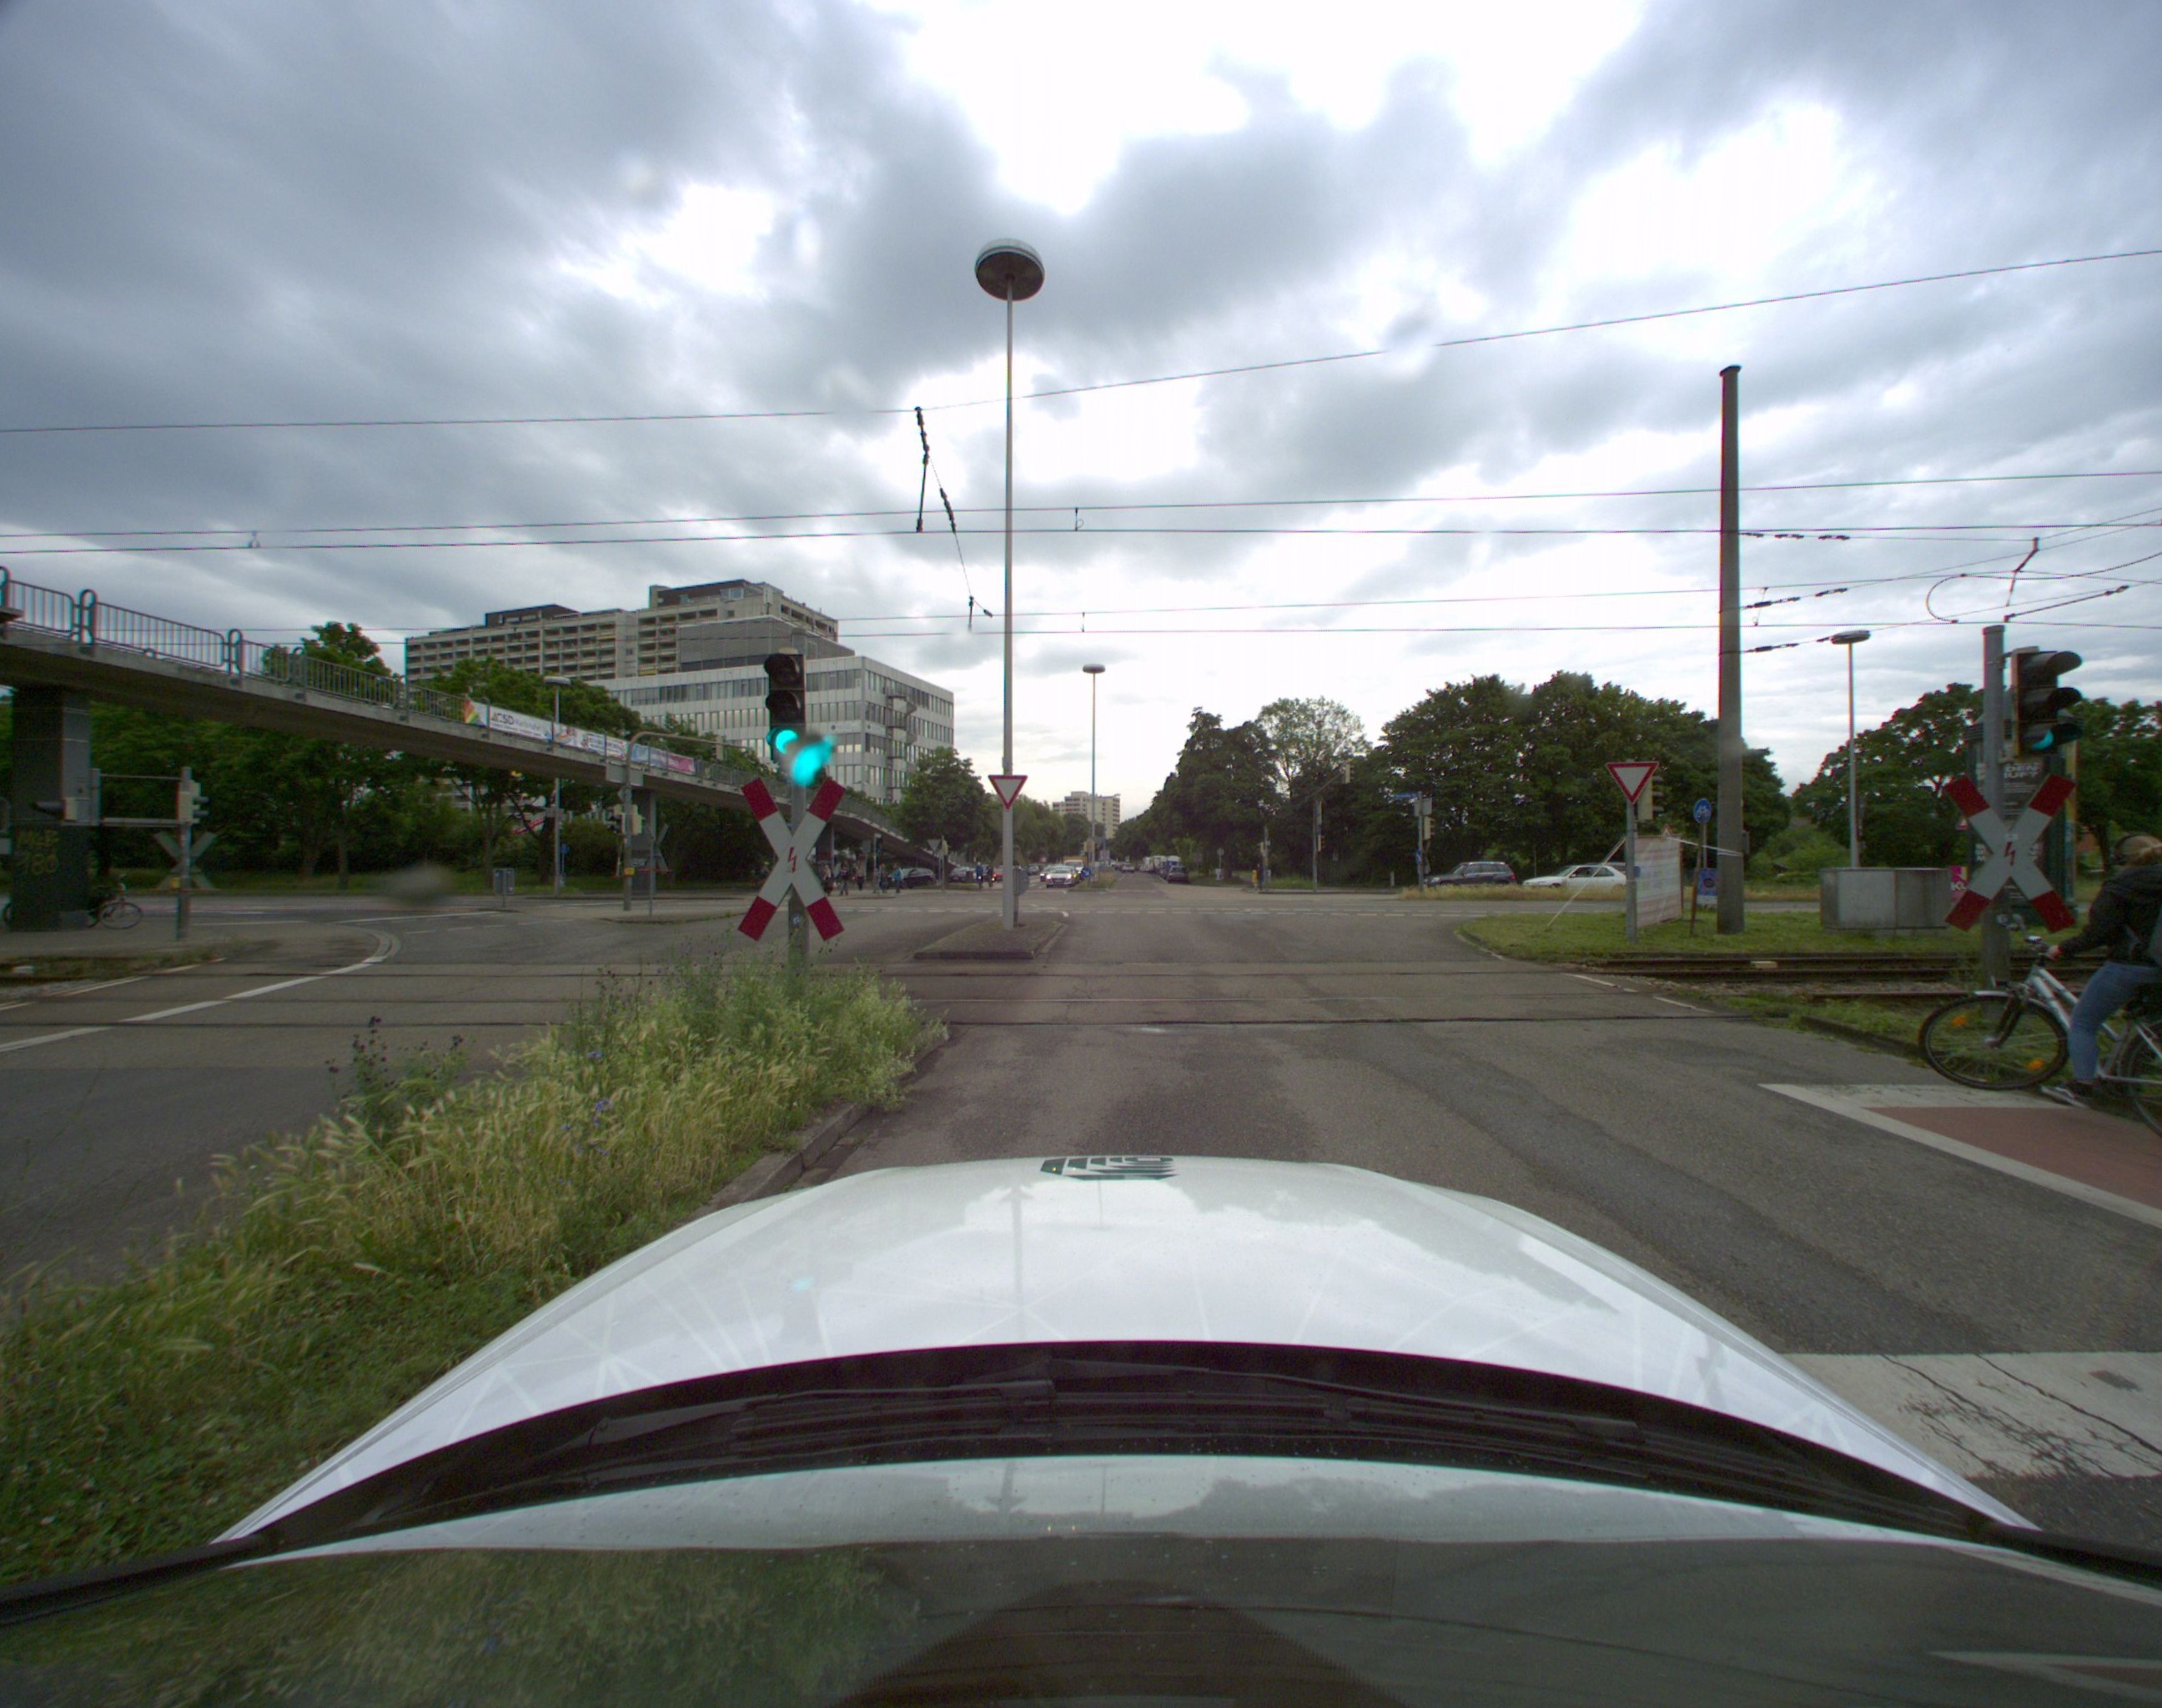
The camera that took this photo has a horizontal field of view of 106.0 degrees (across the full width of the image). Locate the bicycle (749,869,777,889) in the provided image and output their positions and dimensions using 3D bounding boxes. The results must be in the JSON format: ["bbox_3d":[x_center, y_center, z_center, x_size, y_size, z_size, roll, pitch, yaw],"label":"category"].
[{"bbox_3d":[-21.275,1.659,54.445,1.712,1.304,0.386,0,-1,-23],"label":"bicycle"}]

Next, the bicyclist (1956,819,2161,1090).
[{"bbox_3d":[5.962,0.552,4.764,0.619,1.425,0.961,4,-1,1],"label":"bicyclist"}]

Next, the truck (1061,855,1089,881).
[{"bbox_3d":[-0.484,1.231,71.893,2.146,2.199,5.844,0,-1,3],"label":"truck"}]

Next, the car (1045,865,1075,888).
[{"bbox_3d":[-1.410,1.543,56.092,1.782,1.519,4.327,0,-1,2],"label":"car"}]

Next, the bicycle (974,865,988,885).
[{"bbox_3d":[-6.465,1.366,52.755,0.541,1.267,2.111,0,-1,2],"label":"bicycle"}]

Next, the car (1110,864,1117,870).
[{"bbox_3d":[7.571,3.006,189.684,1.548,1.505,4.000,0,-1,1],"label":"car"}]

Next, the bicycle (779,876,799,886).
[{"bbox_3d":[-20.331,1.895,56.661,1.303,0.692,0.287,0,-1,-34],"label":"bicycle"}]

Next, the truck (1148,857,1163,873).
[{"bbox_3d":[12.010,1.834,131.701,1.987,2.573,5.377,0,-1,0],"label":"truck"}]

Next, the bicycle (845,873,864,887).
[{"bbox_3d":[-16.722,1.924,60.251,0.628,0.925,2.524,0,0,2],"label":"bicycle"}]

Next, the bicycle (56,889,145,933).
[{"bbox_3d":[-21.662,1.246,17.991,2.017,0.921,0.375,0,-1,13],"label":"bicycle"}]

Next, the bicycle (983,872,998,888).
[{"bbox_3d":[-6.270,1.816,56.762,0.724,1.101,2.265,0,-1,2],"label":"bicycle"}]

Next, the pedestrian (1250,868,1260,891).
[{"bbox_3d":[10.530,1.550,49.325,0.525,1.342,0.525,0,-1,1],"label":"pedestrian"}]

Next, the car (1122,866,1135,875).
[{"bbox_3d":[7.900,2.807,136.572,2.013,1.505,4.001,0,-1,2],"label":"car"}]

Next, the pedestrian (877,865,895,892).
[{"bbox_3d":[-10.883,1.353,45.510,0.917,1.511,0.402,0,-1,-10],"label":"pedestrian"}]

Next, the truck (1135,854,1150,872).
[{"bbox_3d":[10.700,1.604,142.539,1.988,3.009,5.768,0,-1,-1],"label":"truck"}]

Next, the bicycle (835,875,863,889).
[{"bbox_3d":[-16.299,1.961,57.179,0.755,0.949,1.965,-1,-1,26],"label":"bicycle"}]

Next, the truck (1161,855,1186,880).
[{"bbox_3d":[10.210,1.522,90.295,2.166,2.656,6.248,-1,-1,2],"label":"truck"}]

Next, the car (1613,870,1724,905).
[{"bbox_3d":[28.309,1.582,39.330,3.973,1.618,1.878,0,-1,0],"label":"car"}]

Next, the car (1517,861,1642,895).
[{"bbox_3d":[20.454,0.964,33.506,4.120,1.357,1.648,0,-1,2],"label":"car"}]

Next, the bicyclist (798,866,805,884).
[{"bbox_3d":[-20.052,1.495,58.426,0.385,1.303,0.275,1,-1,-35],"label":"bicyclist"}]

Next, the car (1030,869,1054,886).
[{"bbox_3d":[-3.575,2.179,75.435,1.763,1.478,4.392,0,-1,2],"label":"car"}]

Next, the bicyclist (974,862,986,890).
[{"bbox_3d":[-6.494,1.411,52.410,0.642,1.769,0.647,0,-1,1],"label":"bicyclist"}]

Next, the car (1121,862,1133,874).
[{"bbox_3d":[7.991,2.457,143.216,2.013,1.958,4.001,0,-1,2],"label":"car"}]

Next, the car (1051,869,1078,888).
[{"bbox_3d":[-1.255,1.895,64.419,1.889,1.420,4.738,0,-1,2],"label":"car"}]

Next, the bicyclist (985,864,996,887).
[{"bbox_3d":[-6.274,1.510,56.659,0.676,1.594,0.695,0,-2,1],"label":"bicyclist"}]

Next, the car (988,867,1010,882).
[{"bbox_3d":[-8.070,2.041,80.420,1.505,1.390,3.536,0,-1,4],"label":"car"}]

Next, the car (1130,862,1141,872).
[{"bbox_3d":[10.597,2.546,158.384,1.647,1.918,3.915,0,0,-2],"label":"car"}]

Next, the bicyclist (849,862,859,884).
[{"bbox_3d":[-16.842,1.421,60.340,0.563,1.644,0.532,0,-2,2],"label":"bicyclist"}]

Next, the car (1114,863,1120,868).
[{"bbox_3d":[10.878,3.383,246.596,2.013,1.505,4.001,0,-1,2],"label":"car"}]

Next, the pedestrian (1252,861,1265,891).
[{"bbox_3d":[10.627,1.316,48.695,0.654,1.750,0.459,0,-1,1],"label":"pedestrian"}]

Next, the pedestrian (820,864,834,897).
[{"bbox_3d":[-13.024,1.353,41.797,0.619,1.691,0.403,0,-1,-12],"label":"pedestrian"}]

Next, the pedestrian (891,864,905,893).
[{"bbox_3d":[-10.213,1.376,45.398,0.685,1.605,0.487,0,-1,-3],"label":"pedestrian"}]

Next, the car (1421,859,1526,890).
[{"bbox_3d":[19.713,1.036,41.057,4.447,1.504,1.847,0,-1,2],"label":"car"}]

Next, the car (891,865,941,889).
[{"bbox_3d":[-11.354,1.556,56.362,1.658,1.552,4.018,0,-1,17],"label":"car"}]

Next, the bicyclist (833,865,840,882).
[{"bbox_3d":[-17.005,1.358,56.613,0.403,1.181,0.378,0,0,4],"label":"bicyclist"}]

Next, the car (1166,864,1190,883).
[{"bbox_3d":[8.737,1.696,73.514,1.777,1.662,4.001,0,-1,2],"label":"car"}]

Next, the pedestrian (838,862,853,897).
[{"bbox_3d":[-12.211,1.304,42.209,0.636,1.804,0.800,0,-1,-7],"label":"pedestrian"}]

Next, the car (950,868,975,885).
[{"bbox_3d":[-11.268,2.134,77.696,1.665,1.552,3.894,0,-1,3],"label":"car"}]

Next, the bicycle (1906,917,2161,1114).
[{"bbox_3d":[6.030,0.920,4.765,0.381,0.980,2.030,0,-1,2],"label":"bicycle"}]

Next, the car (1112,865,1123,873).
[{"bbox_3d":[7.342,2.998,163.596,2.013,1.505,4.001,0,-1,2],"label":"car"}]

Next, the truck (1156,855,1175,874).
[{"bbox_3d":[12.420,1.557,119.614,1.988,2.838,5.727,0,-1,-2],"label":"truck"}]

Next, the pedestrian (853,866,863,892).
[{"bbox_3d":[-13.575,1.502,49.567,0.580,1.579,0.777,0,-1,-17],"label":"pedestrian"}]

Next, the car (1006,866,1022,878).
[{"bbox_3d":[-8.976,2.426,108.806,1.665,1.552,4.002,0,-1,3],"label":"car"}]
